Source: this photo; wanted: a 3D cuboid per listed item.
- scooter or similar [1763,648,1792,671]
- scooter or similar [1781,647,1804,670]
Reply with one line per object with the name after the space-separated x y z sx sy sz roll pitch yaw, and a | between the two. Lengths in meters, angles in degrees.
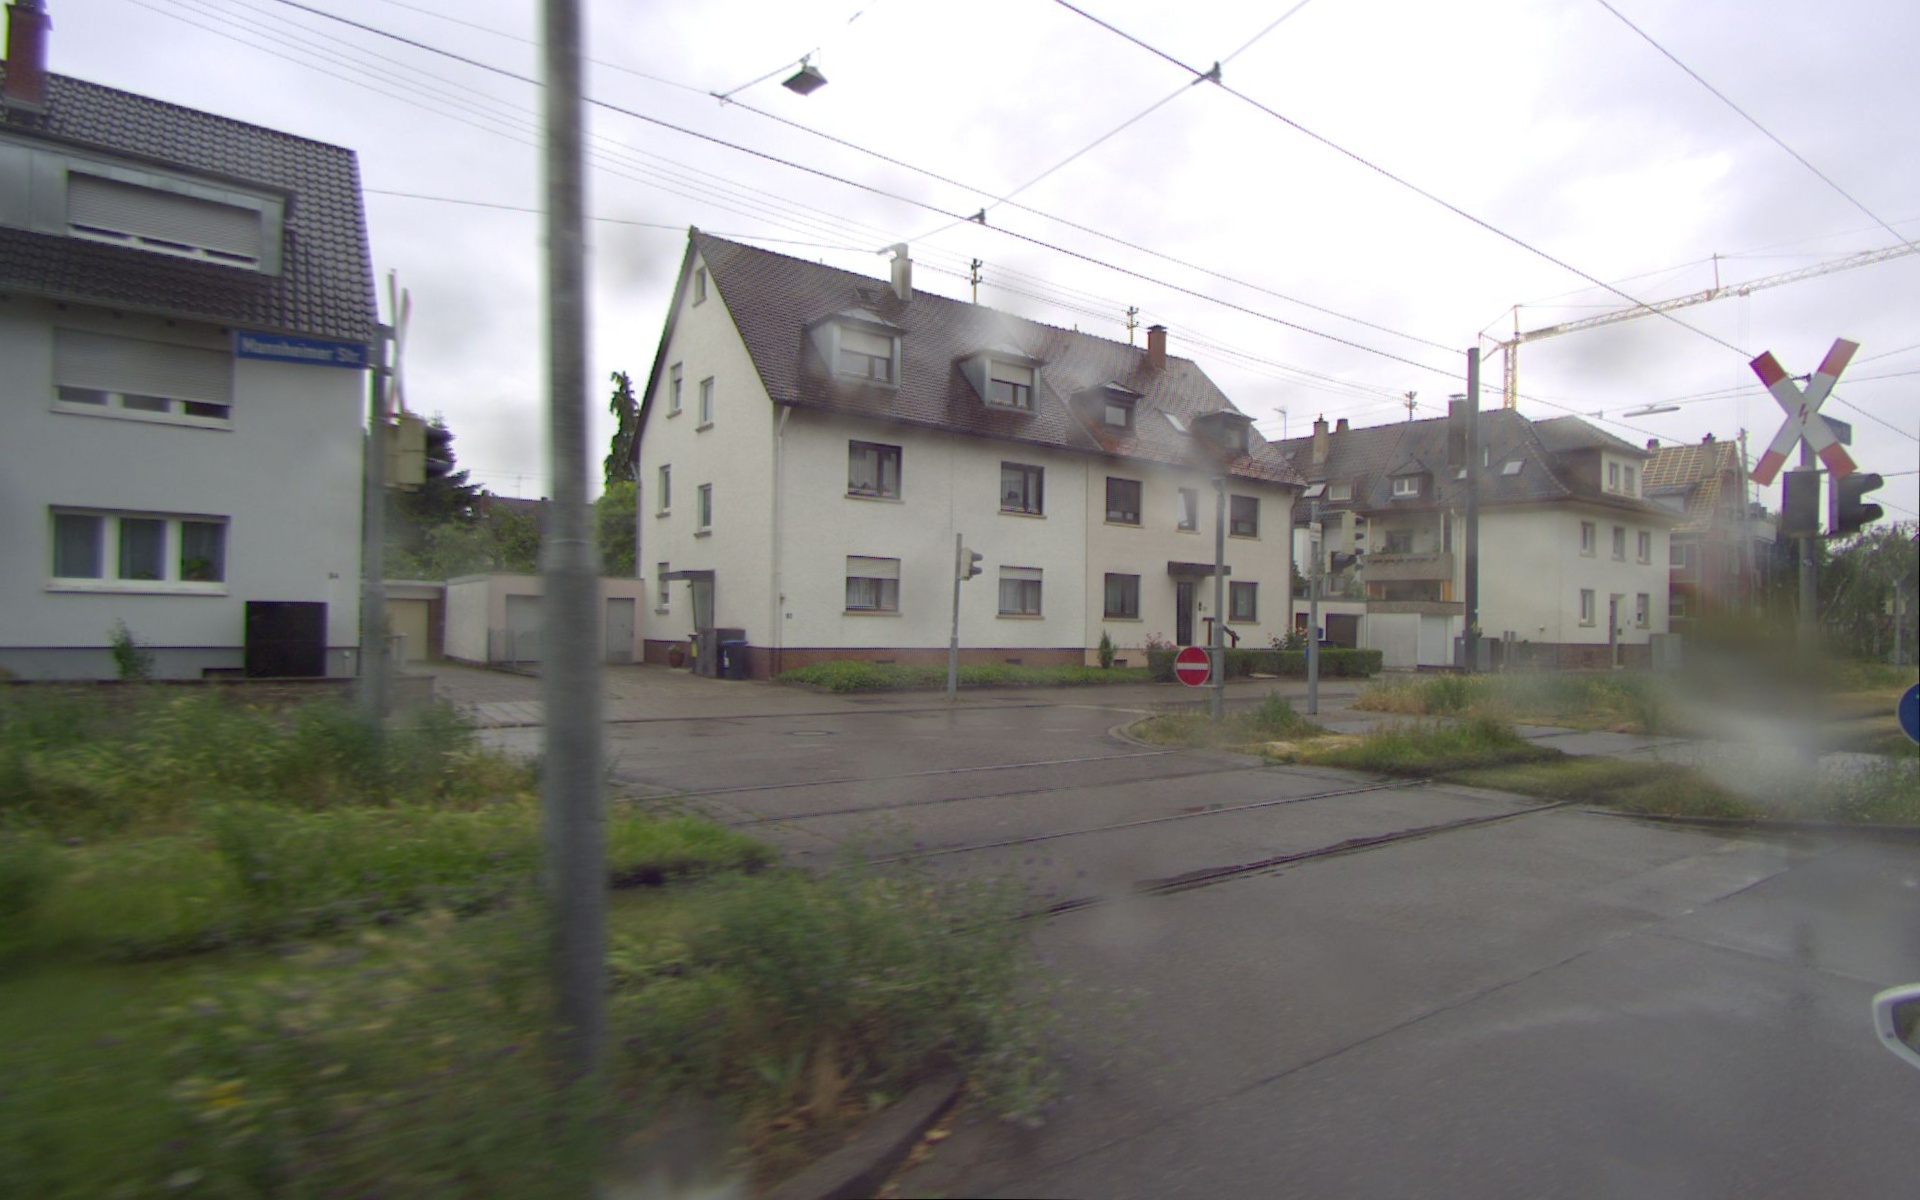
42.865 3.126 52.665 1.258 1.144 0.441 1 -1 -4 | scooter or similar
45.261 3.180 54.605 1.263 1.196 0.393 2 -1 -20 | scooter or similar
